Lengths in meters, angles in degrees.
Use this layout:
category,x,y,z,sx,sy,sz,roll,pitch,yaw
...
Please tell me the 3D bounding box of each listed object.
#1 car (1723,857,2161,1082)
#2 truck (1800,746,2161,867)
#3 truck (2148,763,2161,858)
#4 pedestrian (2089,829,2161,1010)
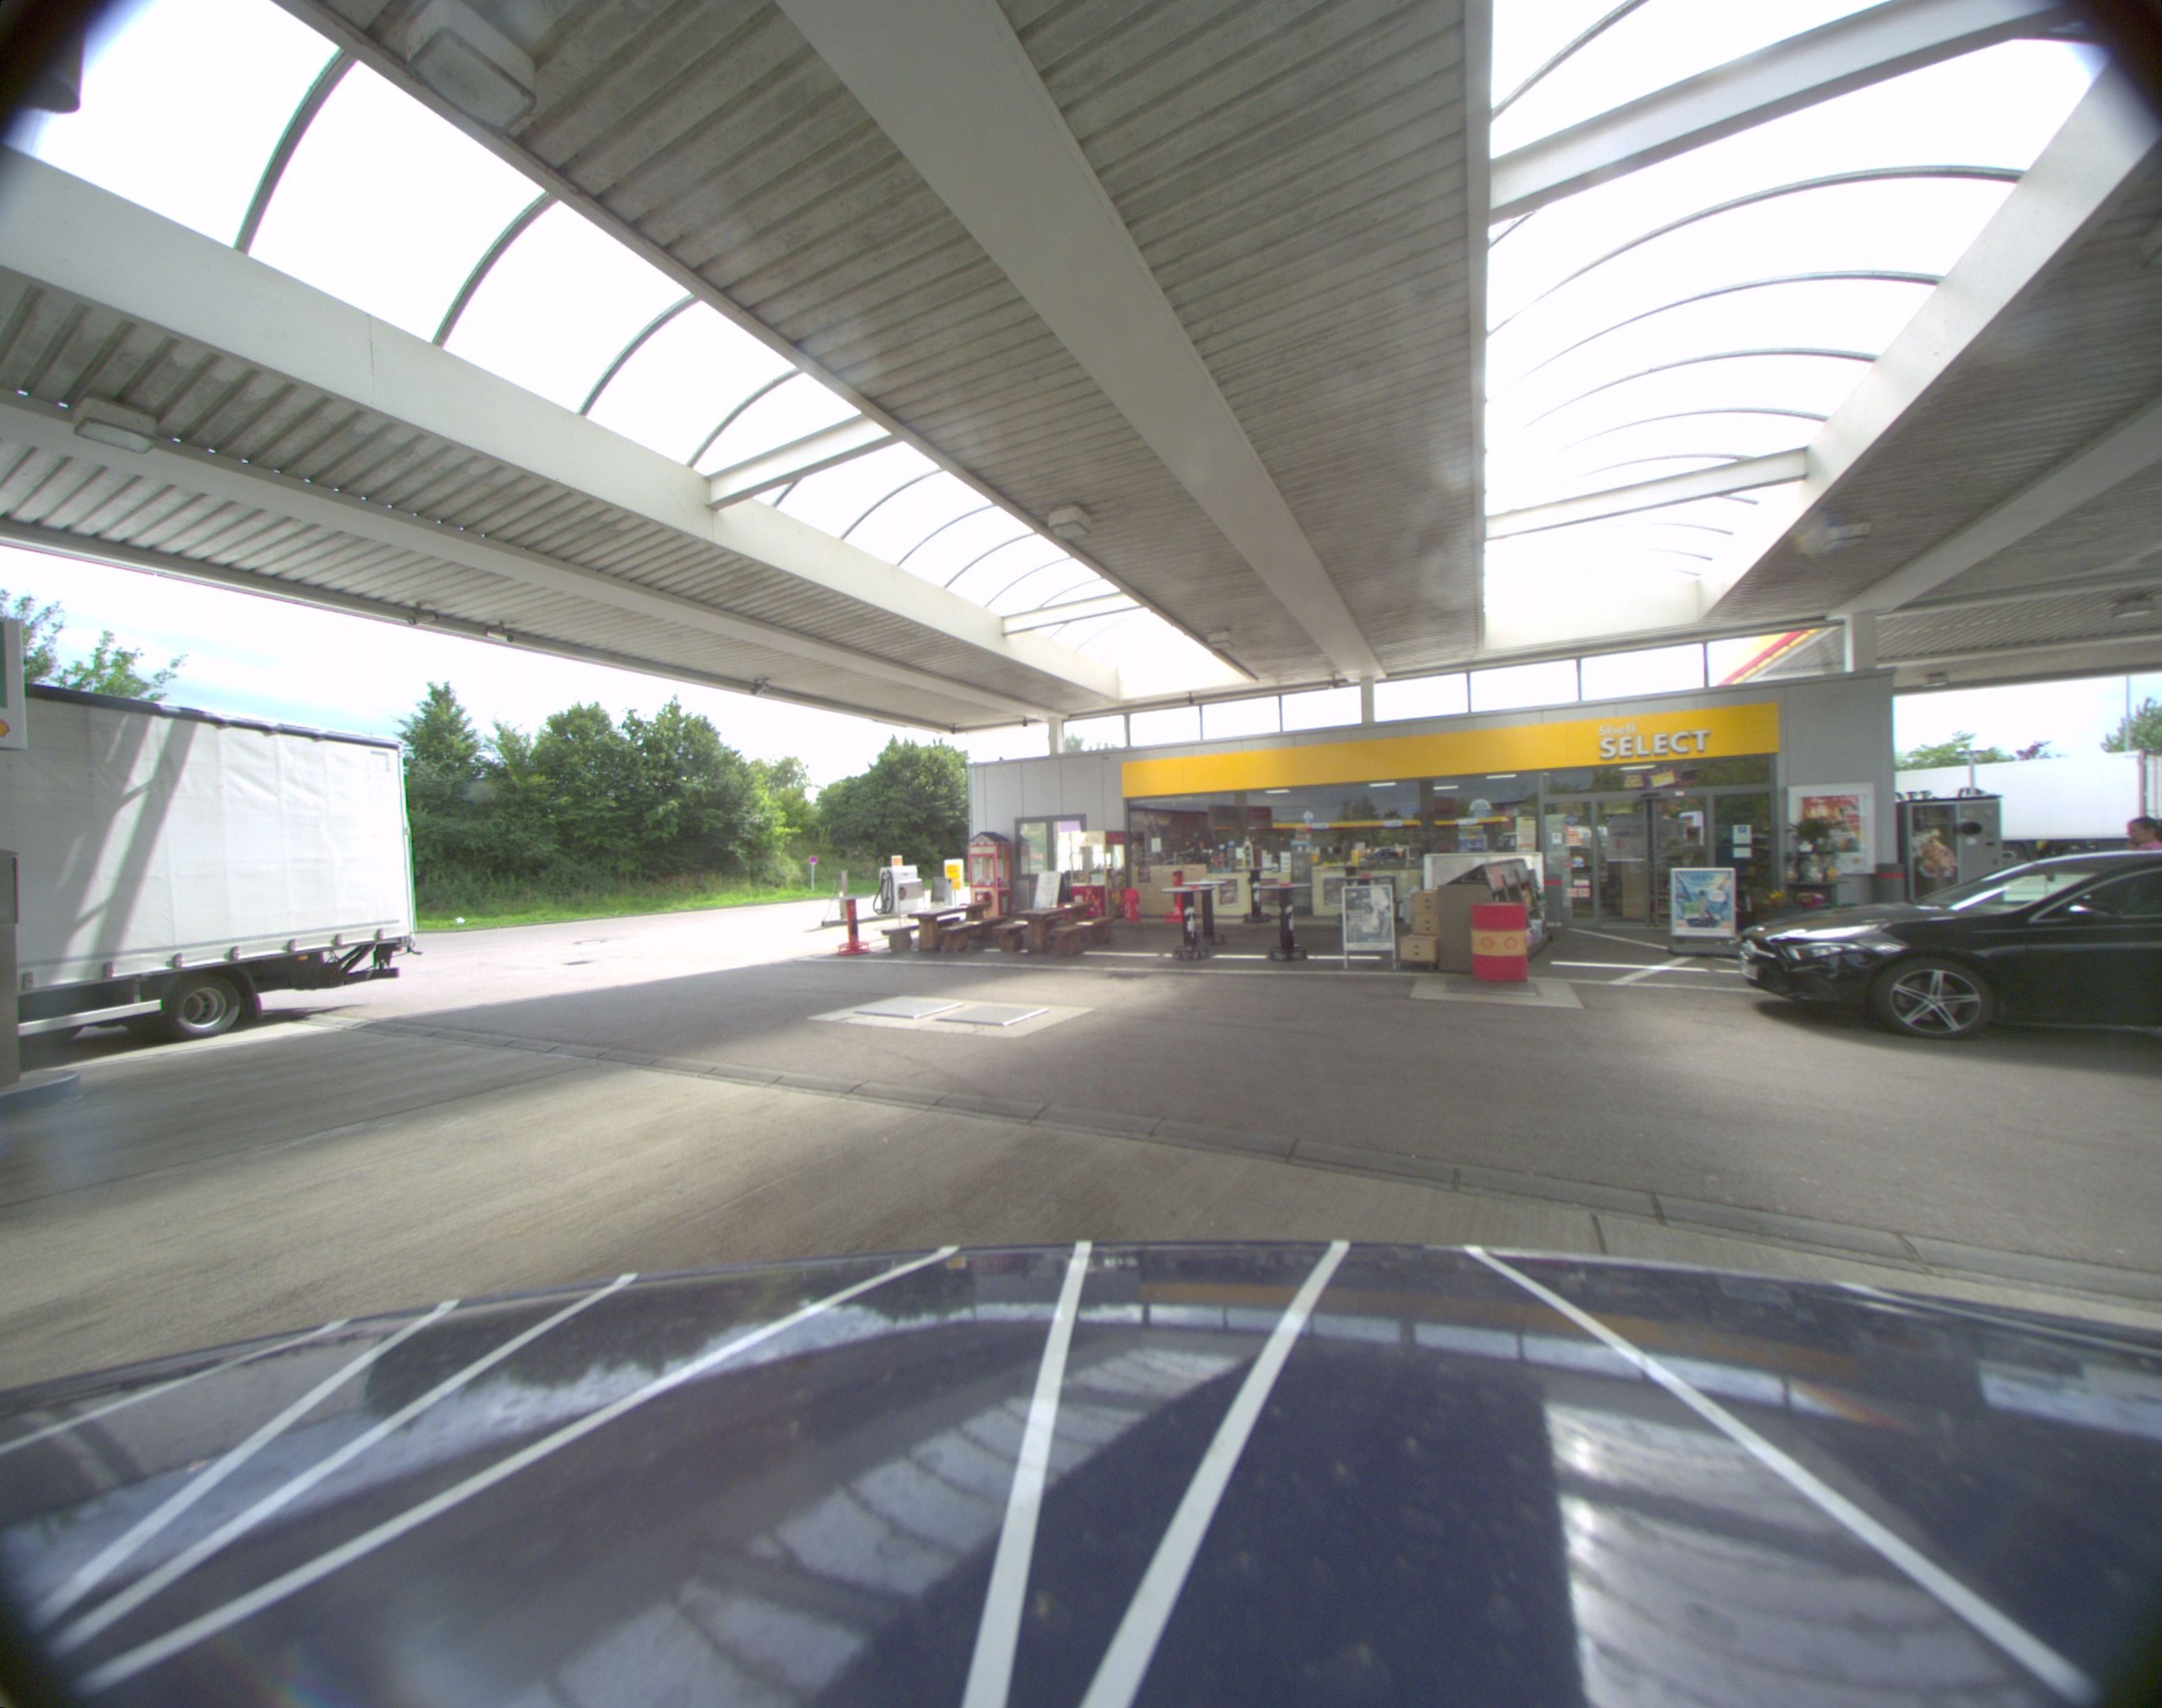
category,x,y,z,sx,sy,sz,roll,pitch,yaw
car,8.141,0.811,5.950,4.461,1.491,1.782,-2,1,28
truck,35.123,-1.618,30.061,2.796,3.982,9.578,-3,1,-16
truck,51.471,-2.047,33.143,3.383,4.479,6.239,-2,1,29
pedestrian,10.392,0.614,7.373,0.621,1.703,0.628,-1,2,43
